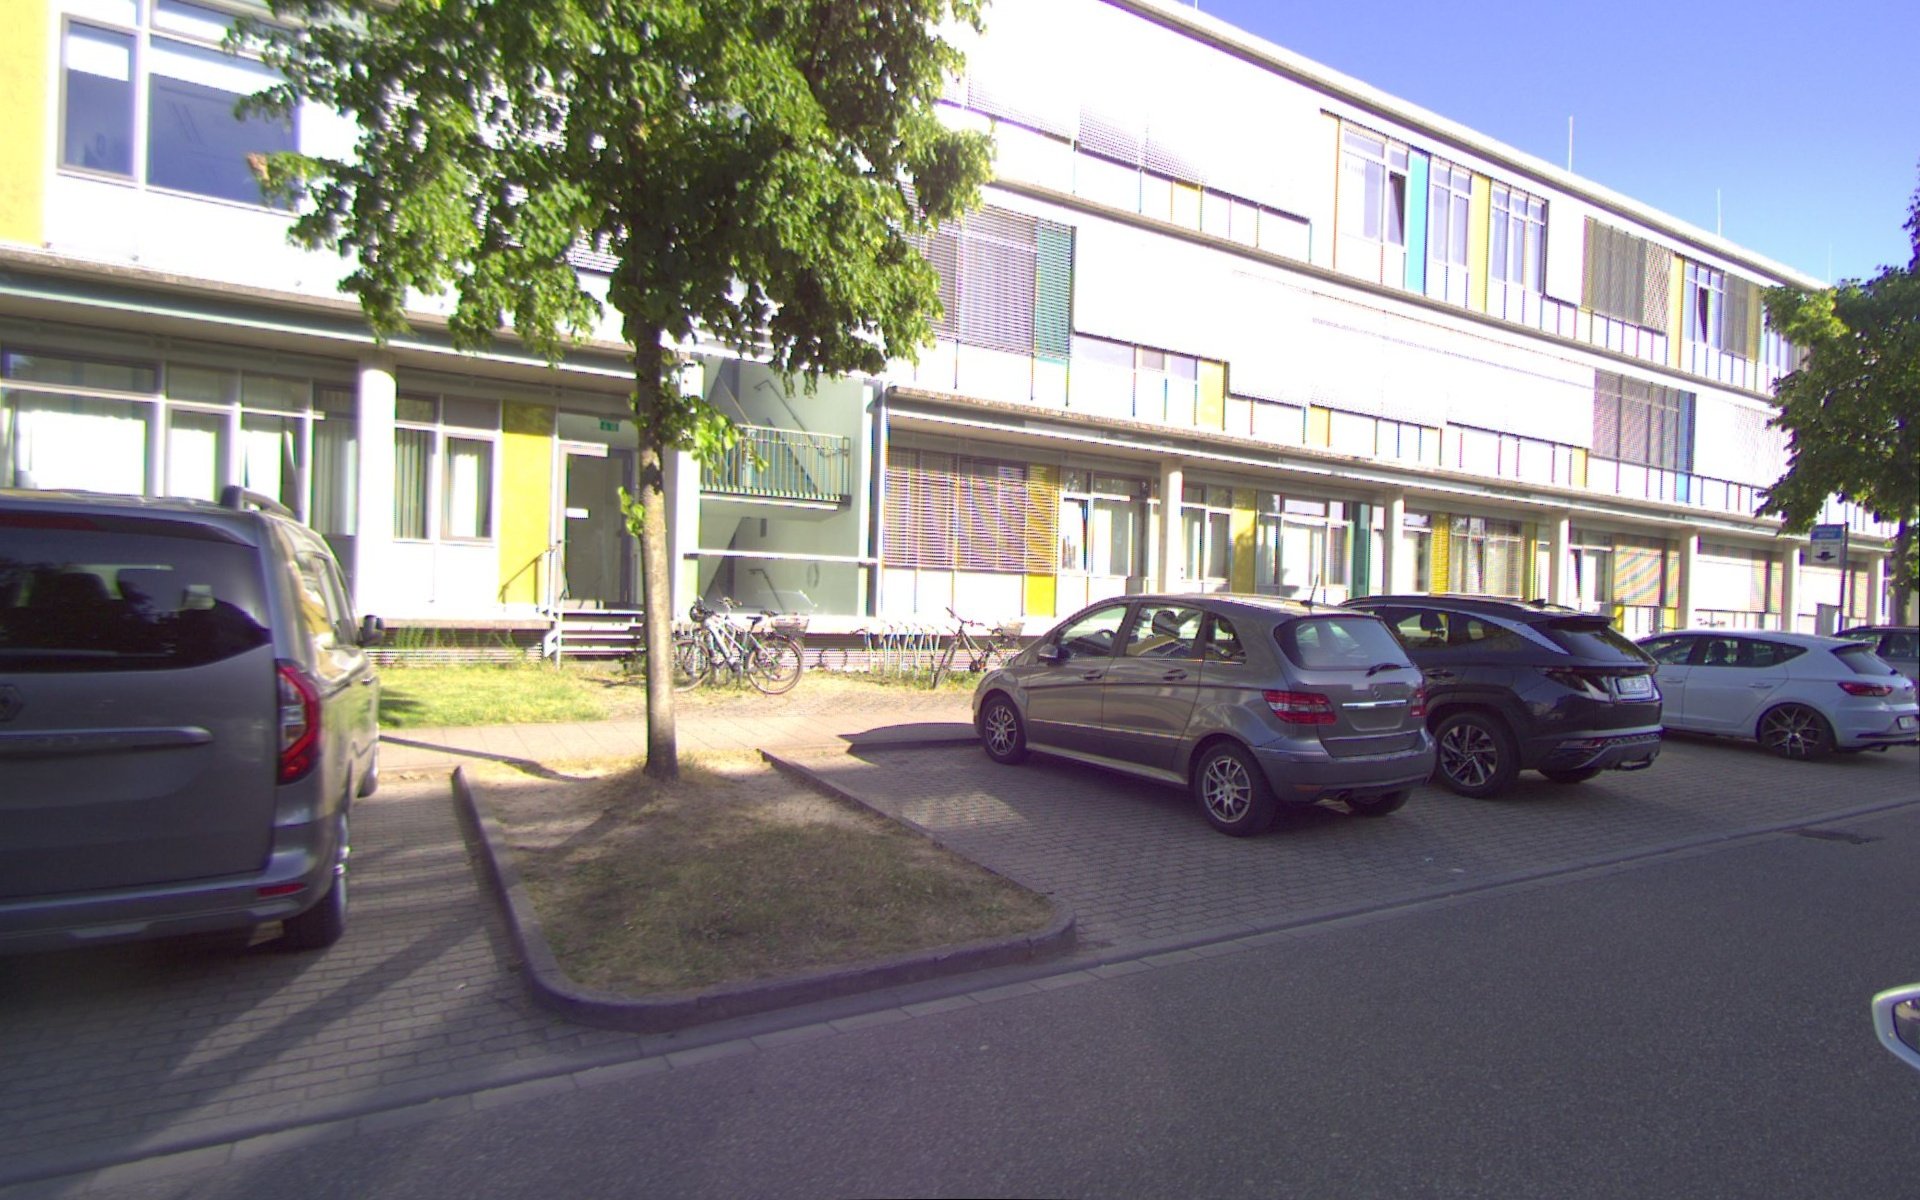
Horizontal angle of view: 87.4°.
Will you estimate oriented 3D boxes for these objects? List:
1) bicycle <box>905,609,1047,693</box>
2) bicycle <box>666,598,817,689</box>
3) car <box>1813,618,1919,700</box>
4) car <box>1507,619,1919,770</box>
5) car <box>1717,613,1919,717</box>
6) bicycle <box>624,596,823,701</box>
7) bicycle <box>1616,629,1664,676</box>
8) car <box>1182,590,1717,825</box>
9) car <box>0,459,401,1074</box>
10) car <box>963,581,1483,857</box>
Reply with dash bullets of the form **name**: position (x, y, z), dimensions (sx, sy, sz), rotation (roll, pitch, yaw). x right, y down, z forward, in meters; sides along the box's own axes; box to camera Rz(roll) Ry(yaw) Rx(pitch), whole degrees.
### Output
- **bicycle**: position (0.233, 0.721, 14.729), dimensions (1.865, 1.126, 0.889), rotation (1, 2, -26)
- **bicycle**: position (-3.107, 0.614, 14.237), dimensions (1.962, 1.169, 0.868), rotation (2, 1, -20)
- **car**: position (19.615, 1.221, 19.570), dimensions (1.852, 1.506, 4.189), rotation (1, 1, -33)
- **car**: position (9.343, 1.038, 12.635), dimensions (1.724, 1.377, 3.963), rotation (1, 1, -33)
- **car**: position (15.251, 1.061, 16.423), dimensions (1.852, 1.482, 4.189), rotation (1, 1, -33)
- **bicycle**: position (-2.945, 0.602, 12.744), dimensions (2.330, 1.169, 0.870), rotation (3, 1, -9)
- **bicycle**: position (15.751, 1.196, 23.263), dimensions (0.761, 1.031, 1.369), rotation (1, 0, 41)
- **car**: position (4.447, 0.805, 9.799), dimensions (2.026, 1.633, 4.221), rotation (1, 1, -33)
- **car**: position (-3.978, 0.435, 5.191), dimensions (1.805, 1.890, 4.721), rotation (2, 1, -29)
- **car**: position (1.892, 0.729, 8.390), dimensions (1.852, 1.629, 3.963), rotation (1, 1, -33)
